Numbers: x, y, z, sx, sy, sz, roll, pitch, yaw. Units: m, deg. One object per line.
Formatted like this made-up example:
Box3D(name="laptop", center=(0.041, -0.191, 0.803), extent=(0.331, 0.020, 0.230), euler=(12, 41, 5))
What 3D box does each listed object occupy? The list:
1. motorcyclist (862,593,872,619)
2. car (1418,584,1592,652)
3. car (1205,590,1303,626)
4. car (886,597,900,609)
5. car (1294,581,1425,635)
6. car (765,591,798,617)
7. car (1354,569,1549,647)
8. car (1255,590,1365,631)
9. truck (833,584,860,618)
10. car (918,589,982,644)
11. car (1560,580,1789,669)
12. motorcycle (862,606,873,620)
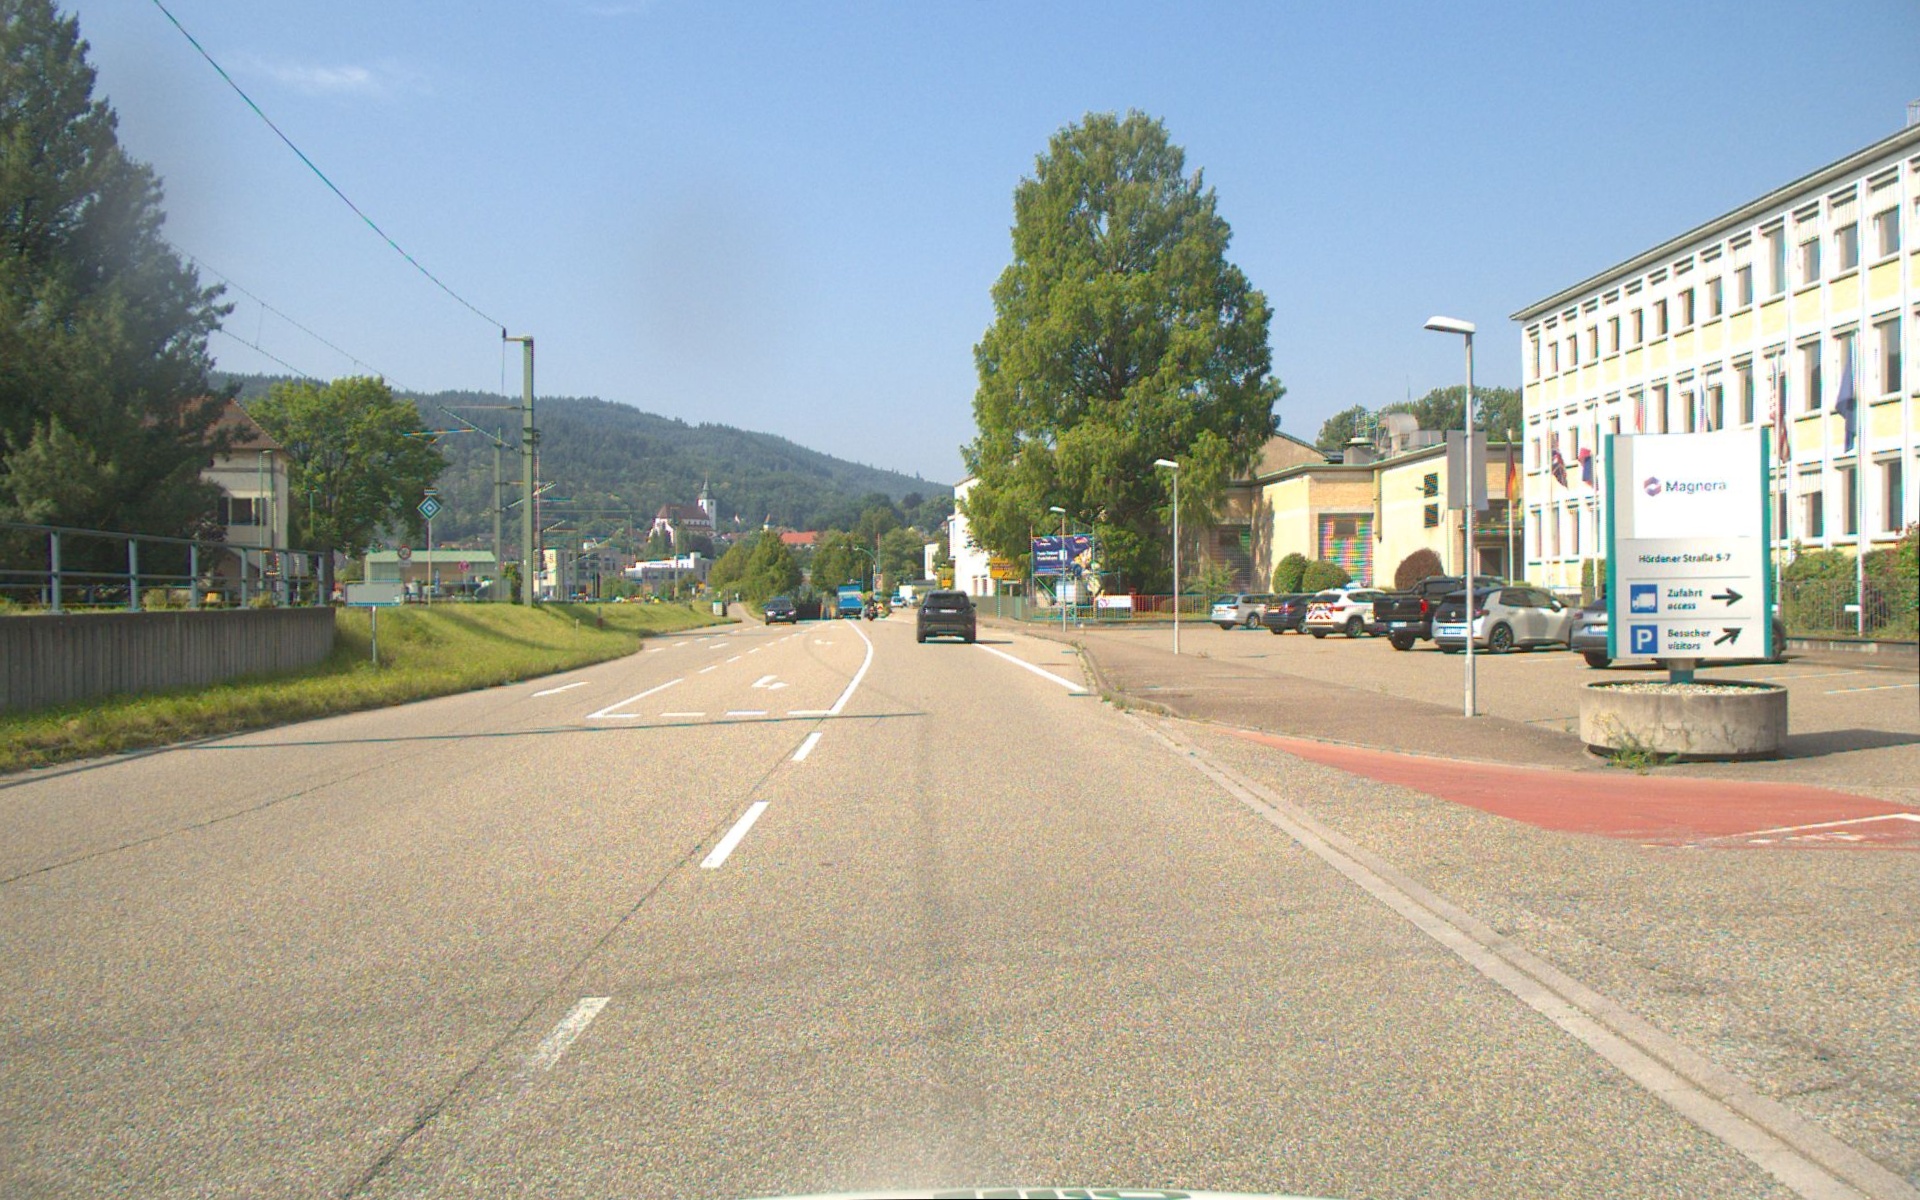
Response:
Box3D(name="motorcyclist", center=(-5.514, 0.360, 97.994), extent=(0.594, 1.547, 0.863), euler=(-1, 0, -3))
Box3D(name="car", center=(13.090, 0.406, 39.676), extent=(3.947, 1.531, 1.867), euler=(-1, 0, -31))
Box3D(name="car", center=(12.129, 0.327, 68.145), extent=(3.951, 1.425, 1.645), euler=(-1, 0, -34))
Box3D(name="car", center=(-8.899, 0.407, 220.401), extent=(1.731, 1.512, 3.999), euler=(0, -1, -1))
Box3D(name="car", center=(13.101, 0.234, 54.195), extent=(4.119, 1.701, 1.849), euler=(-1, 0, -32))
Box3D(name="car", center=(-10.028, 0.218, 93.235), extent=(1.721, 1.454, 3.996), euler=(0, 0, -5))
Box3D(name="car", center=(12.638, 0.184, 42.440), extent=(4.969, 1.864, 1.962), euler=(-1, 0, -31))
Box3D(name="car", center=(12.677, 0.352, 59.865), extent=(3.951, 1.425, 1.645), euler=(-1, 0, -34))
Box3D(name="truck", center=(-10.267, 0.081, 149.150), extent=(2.267, 3.022, 5.960), euler=(-1, 0, -5))
Box3D(name="car", center=(-0.356, 0.509, 53.355), extent=(1.881, 1.668, 3.998), euler=(0, 0, -3))
Box3D(name="car", center=(13.486, 0.419, 31.164), extent=(4.254, 1.531, 1.866), euler=(-1, 0, -31))
Box3D(name="motorcycle", center=(-5.477, 0.763, 97.991), extent=(0.594, 0.766, 1.414), euler=(-1, 0, -2))
